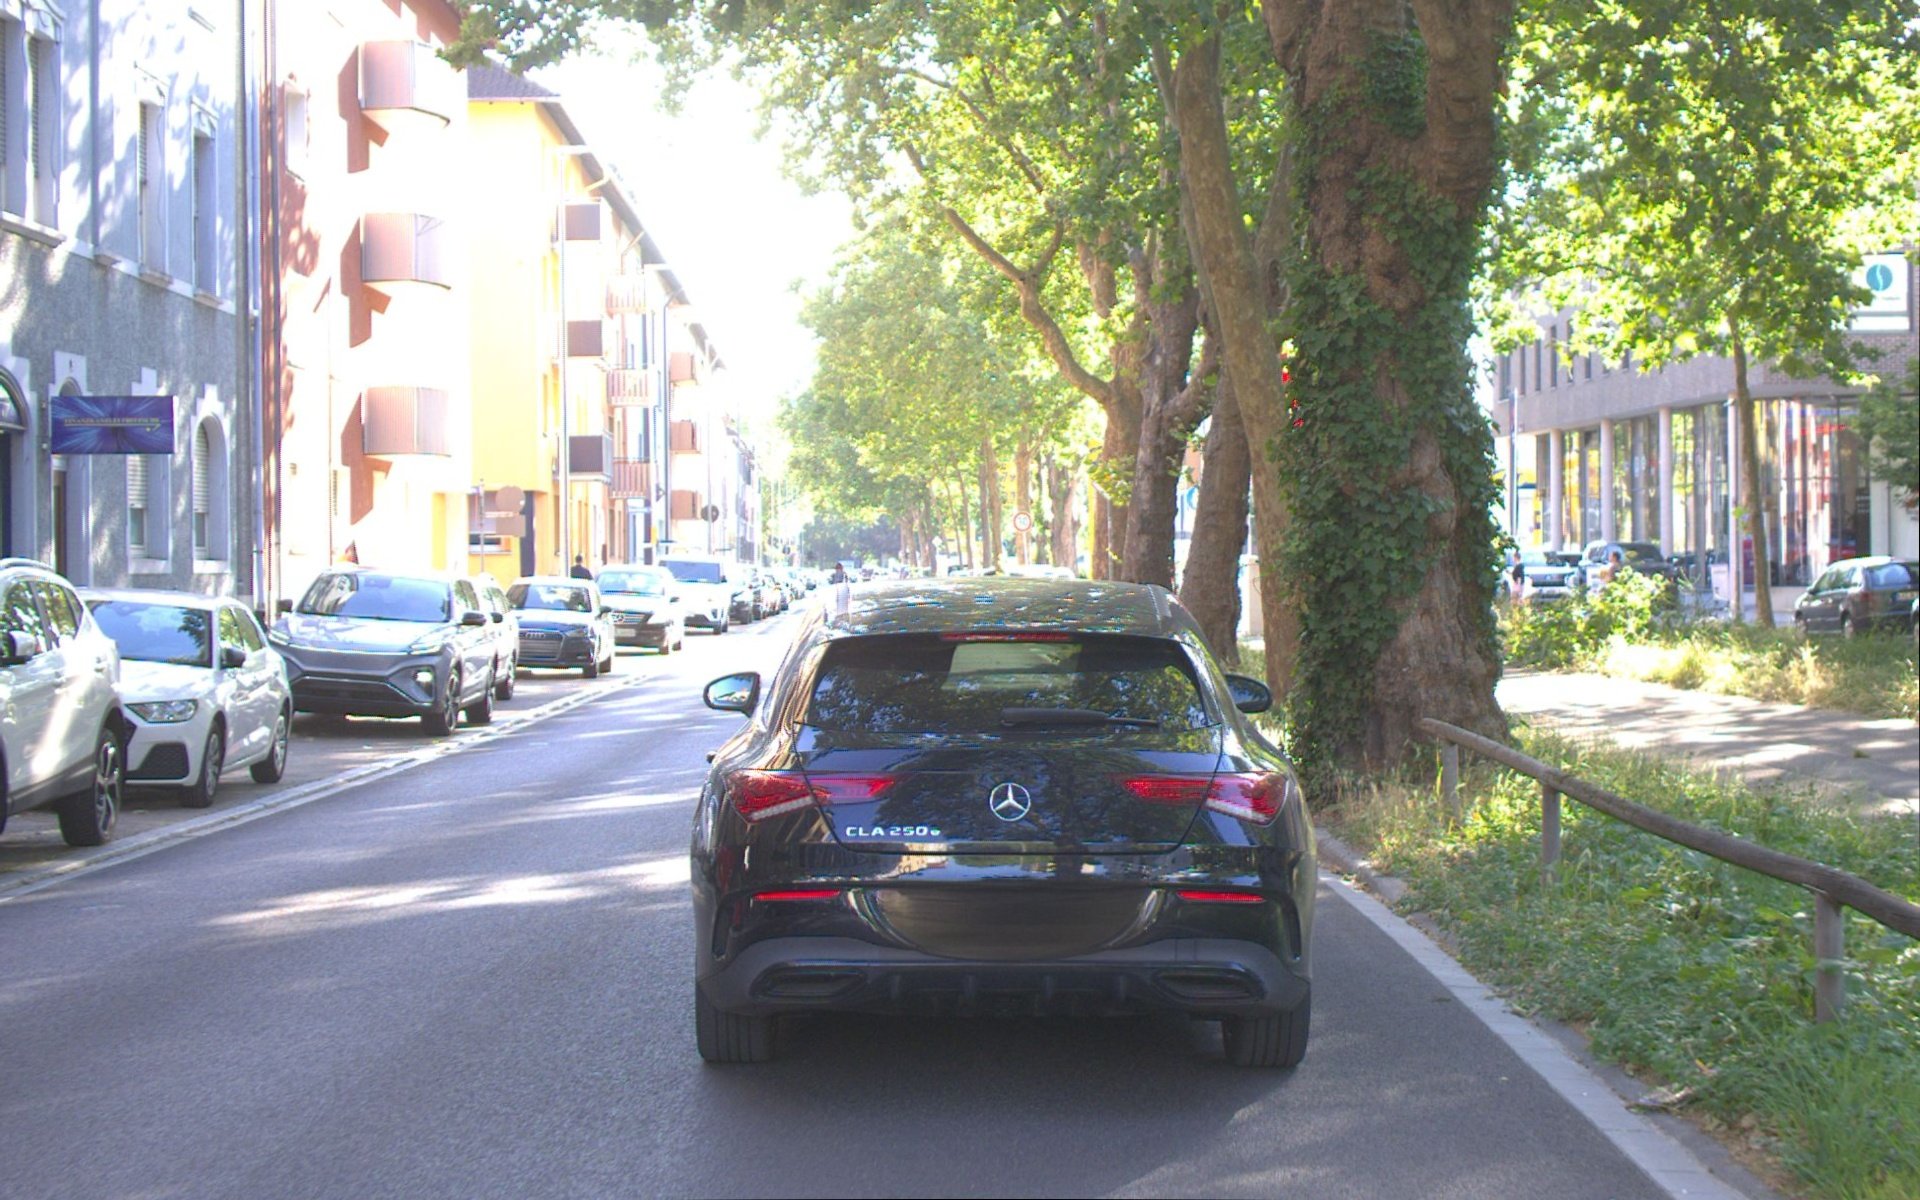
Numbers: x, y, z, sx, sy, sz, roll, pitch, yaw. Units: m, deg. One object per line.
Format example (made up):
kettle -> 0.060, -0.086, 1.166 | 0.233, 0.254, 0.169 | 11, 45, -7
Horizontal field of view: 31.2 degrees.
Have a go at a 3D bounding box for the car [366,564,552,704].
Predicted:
car -> -6.220, 0.381, 43.058 | 1.678, 1.636, 3.984 | 1, 1, 1

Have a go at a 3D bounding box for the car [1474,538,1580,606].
car -> 15.007, -0.756, 91.113 | 1.875, 1.727, 4.181 | -1, 1, -3

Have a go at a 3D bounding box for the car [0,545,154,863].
car -> -5.609, 0.494, 18.105 | 1.678, 1.579, 4.200 | 1, 1, 1

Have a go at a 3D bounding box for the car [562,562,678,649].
car -> -6.277, 0.080, 63.818 | 1.678, 1.518, 4.021 | 1, 1, 1

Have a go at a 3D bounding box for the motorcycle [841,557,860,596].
motorcycle -> -3.559, -0.764, 111.658 | 0.547, 1.237, 2.264 | -3, 0, -1

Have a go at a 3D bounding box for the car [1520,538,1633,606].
car -> 16.265, -0.754, 90.892 | 1.985, 1.727, 4.181 | -1, 1, -3

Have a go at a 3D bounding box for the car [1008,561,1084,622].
car -> 2.181, -0.223, 88.284 | 1.635, 1.463, 4.021 | -2, 0, -2

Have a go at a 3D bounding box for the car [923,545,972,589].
car -> -0.612, -1.540, 161.379 | 1.993, 2.007, 4.000 | 0, -1, -5

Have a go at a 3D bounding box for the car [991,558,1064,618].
car -> 1.849, -0.325, 95.160 | 1.810, 1.533, 4.583 | -3, 0, 0

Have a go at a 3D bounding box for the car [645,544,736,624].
car -> -6.557, -0.413, 84.113 | 1.734, 1.900, 5.209 | 0, 1, 1

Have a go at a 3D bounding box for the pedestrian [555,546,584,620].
pedestrian -> -9.456, -0.416, 83.197 | 0.587, 1.784, 0.642 | -1, 1, 0

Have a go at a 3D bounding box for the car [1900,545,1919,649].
car -> 15.191, -0.047, 50.211 | 1.859, 1.547, 3.760 | -1, 1, 0

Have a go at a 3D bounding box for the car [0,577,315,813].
car -> -5.810, 0.606, 24.404 | 1.678, 1.491, 3.872 | 1, 1, 1

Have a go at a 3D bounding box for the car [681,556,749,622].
car -> -6.891, -0.344, 97.031 | 1.745, 1.781, 4.550 | 1, 1, -2

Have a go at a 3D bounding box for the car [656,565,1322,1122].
car -> 0.032, 0.630, 11.117 | 1.744, 1.438, 3.969 | 1, 1, -1

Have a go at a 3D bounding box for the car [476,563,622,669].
car -> -6.068, 0.204, 51.117 | 1.678, 1.481, 3.601 | 1, 1, 1

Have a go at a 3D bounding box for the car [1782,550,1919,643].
car -> 15.097, -0.090, 56.874 | 1.859, 1.463, 4.124 | -1, 1, -2

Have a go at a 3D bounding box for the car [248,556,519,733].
car -> -5.758, 0.392, 34.849 | 1.908, 1.636, 4.577 | 1, 1, 1
